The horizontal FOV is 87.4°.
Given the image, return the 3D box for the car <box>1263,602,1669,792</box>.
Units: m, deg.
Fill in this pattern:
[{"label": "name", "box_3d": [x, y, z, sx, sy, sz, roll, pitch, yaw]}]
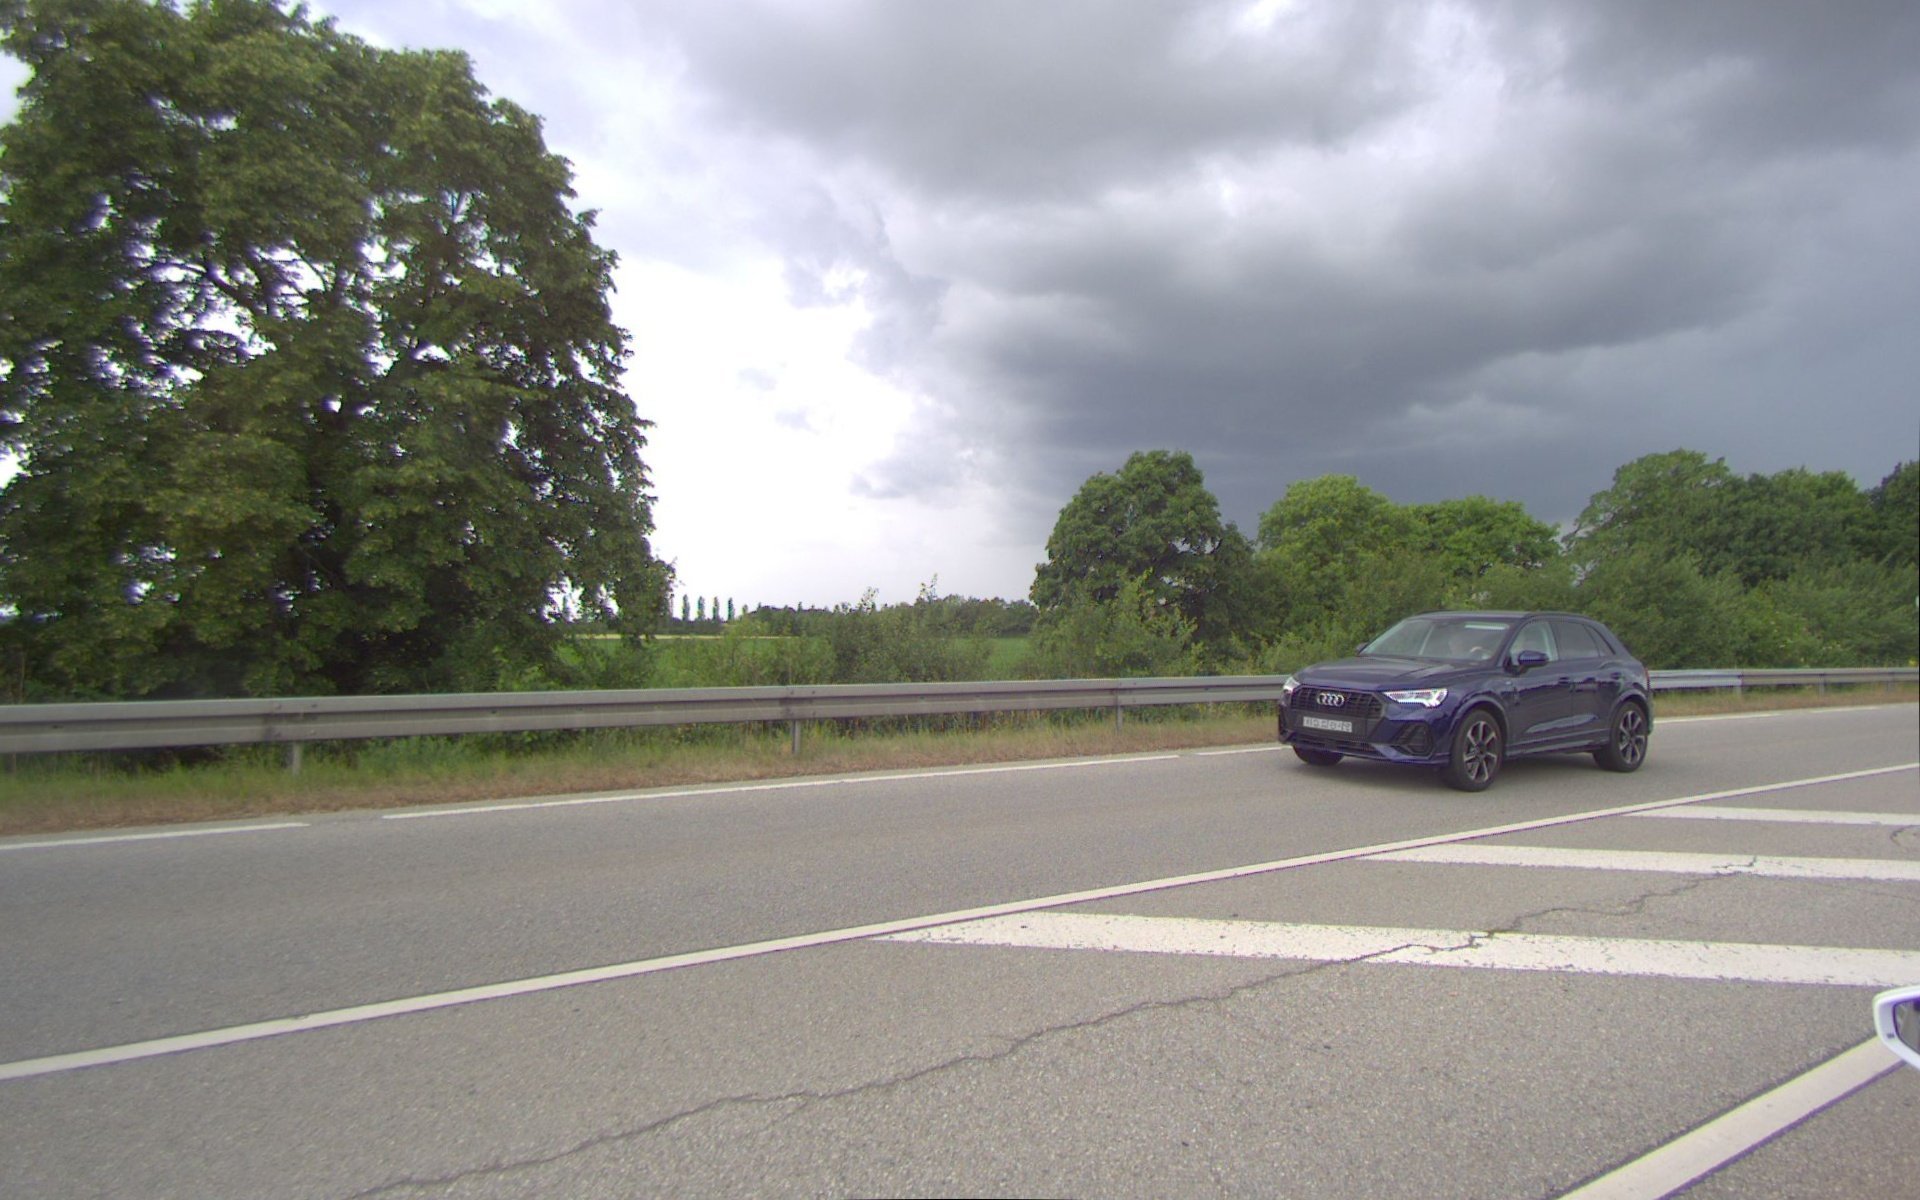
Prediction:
[{"label": "car", "box_3d": [5.129, 0.830, 10.028, 4.162, 1.539, 1.700, 1, 0, -32]}]
